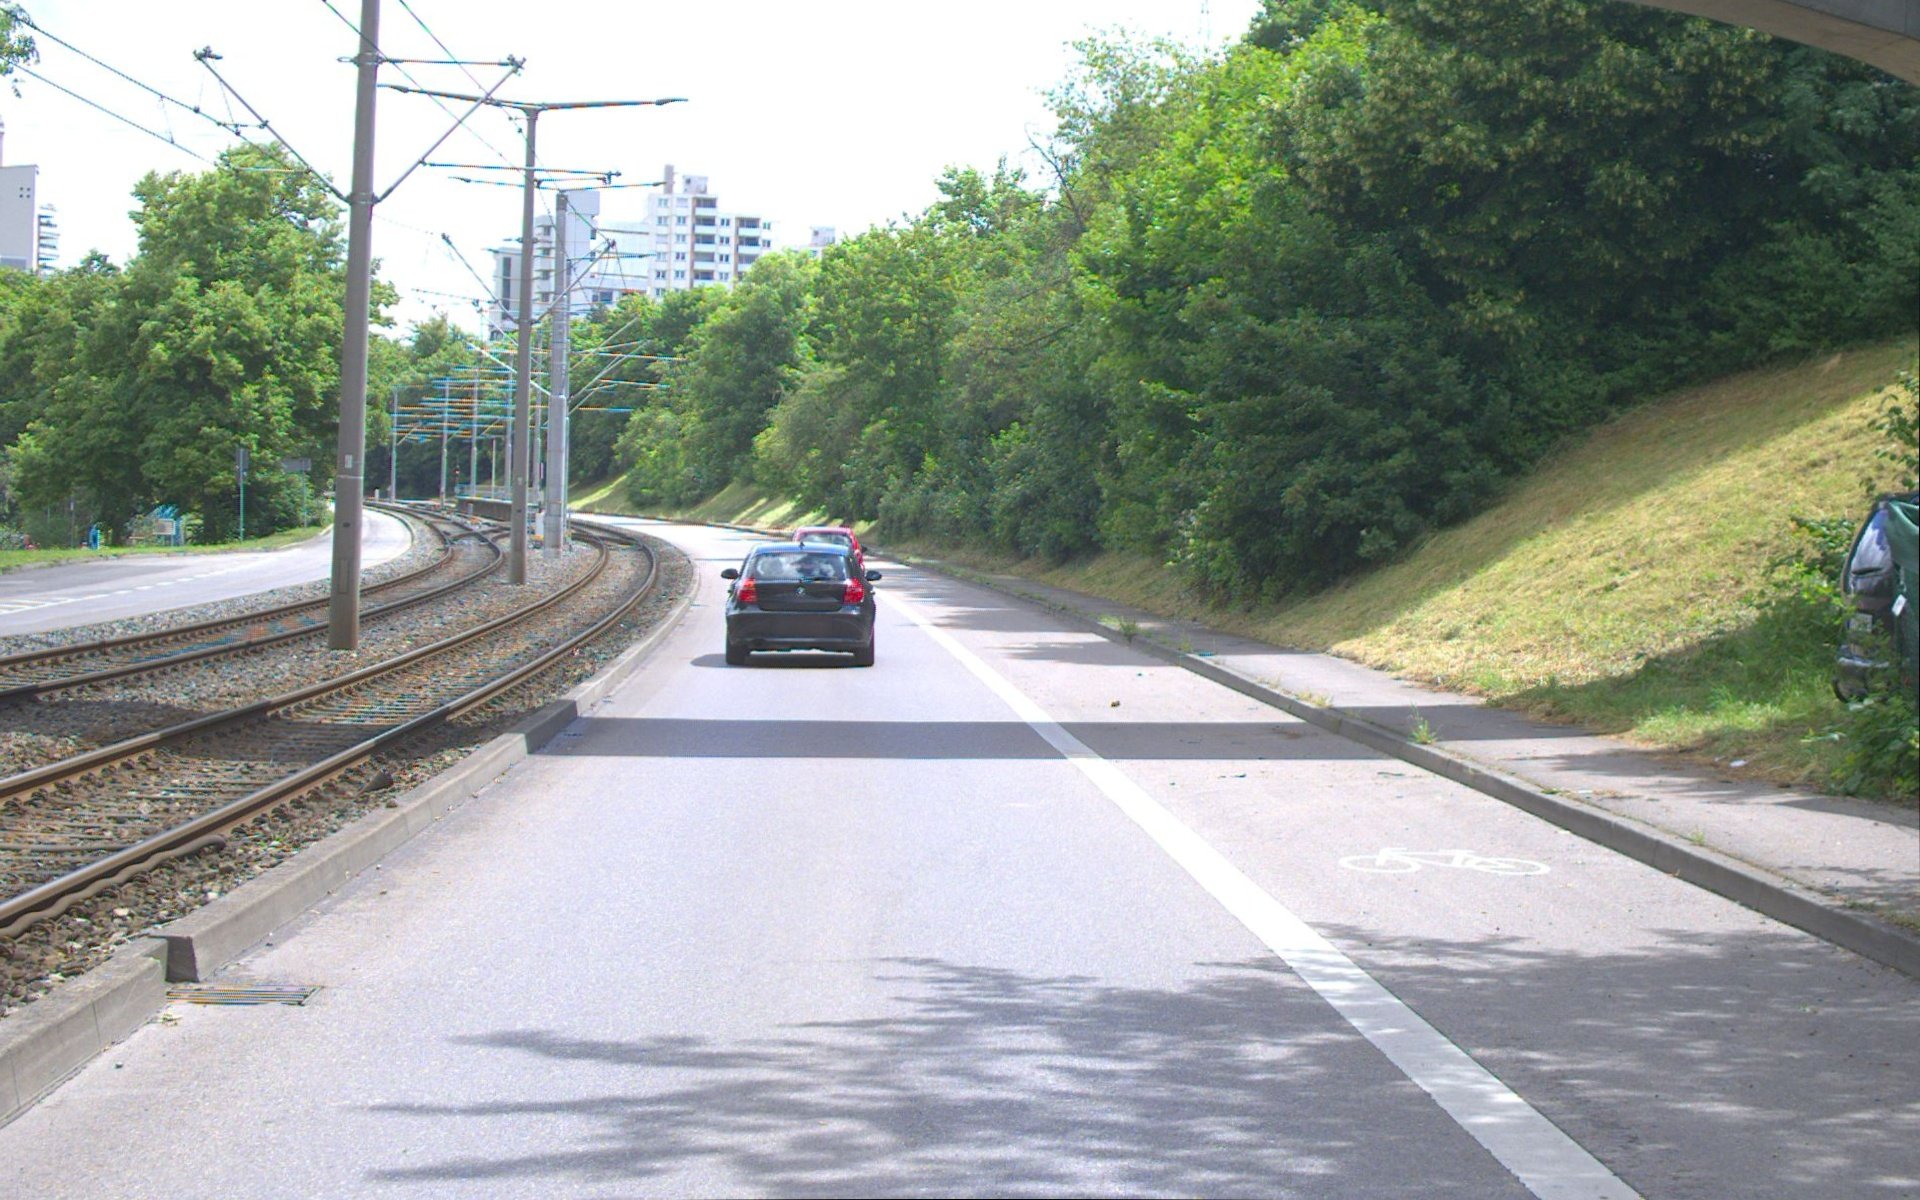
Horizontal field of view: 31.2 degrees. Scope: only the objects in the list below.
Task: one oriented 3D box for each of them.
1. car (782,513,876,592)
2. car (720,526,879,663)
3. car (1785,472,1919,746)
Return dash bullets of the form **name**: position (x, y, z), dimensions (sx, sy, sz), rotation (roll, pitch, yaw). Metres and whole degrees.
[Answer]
- **car**: position (-2.657, -0.952, 70.278), dimensions (1.624, 1.438, 3.421), rotation (3, 0, 2)
- **car**: position (-1.896, -0.091, 40.663), dimensions (1.708, 1.455, 3.961), rotation (3, 1, -3)
- **car**: position (7.827, -0.039, 22.088), dimensions (4.524, 1.666, 2.000), rotation (-3, -1, 2)
